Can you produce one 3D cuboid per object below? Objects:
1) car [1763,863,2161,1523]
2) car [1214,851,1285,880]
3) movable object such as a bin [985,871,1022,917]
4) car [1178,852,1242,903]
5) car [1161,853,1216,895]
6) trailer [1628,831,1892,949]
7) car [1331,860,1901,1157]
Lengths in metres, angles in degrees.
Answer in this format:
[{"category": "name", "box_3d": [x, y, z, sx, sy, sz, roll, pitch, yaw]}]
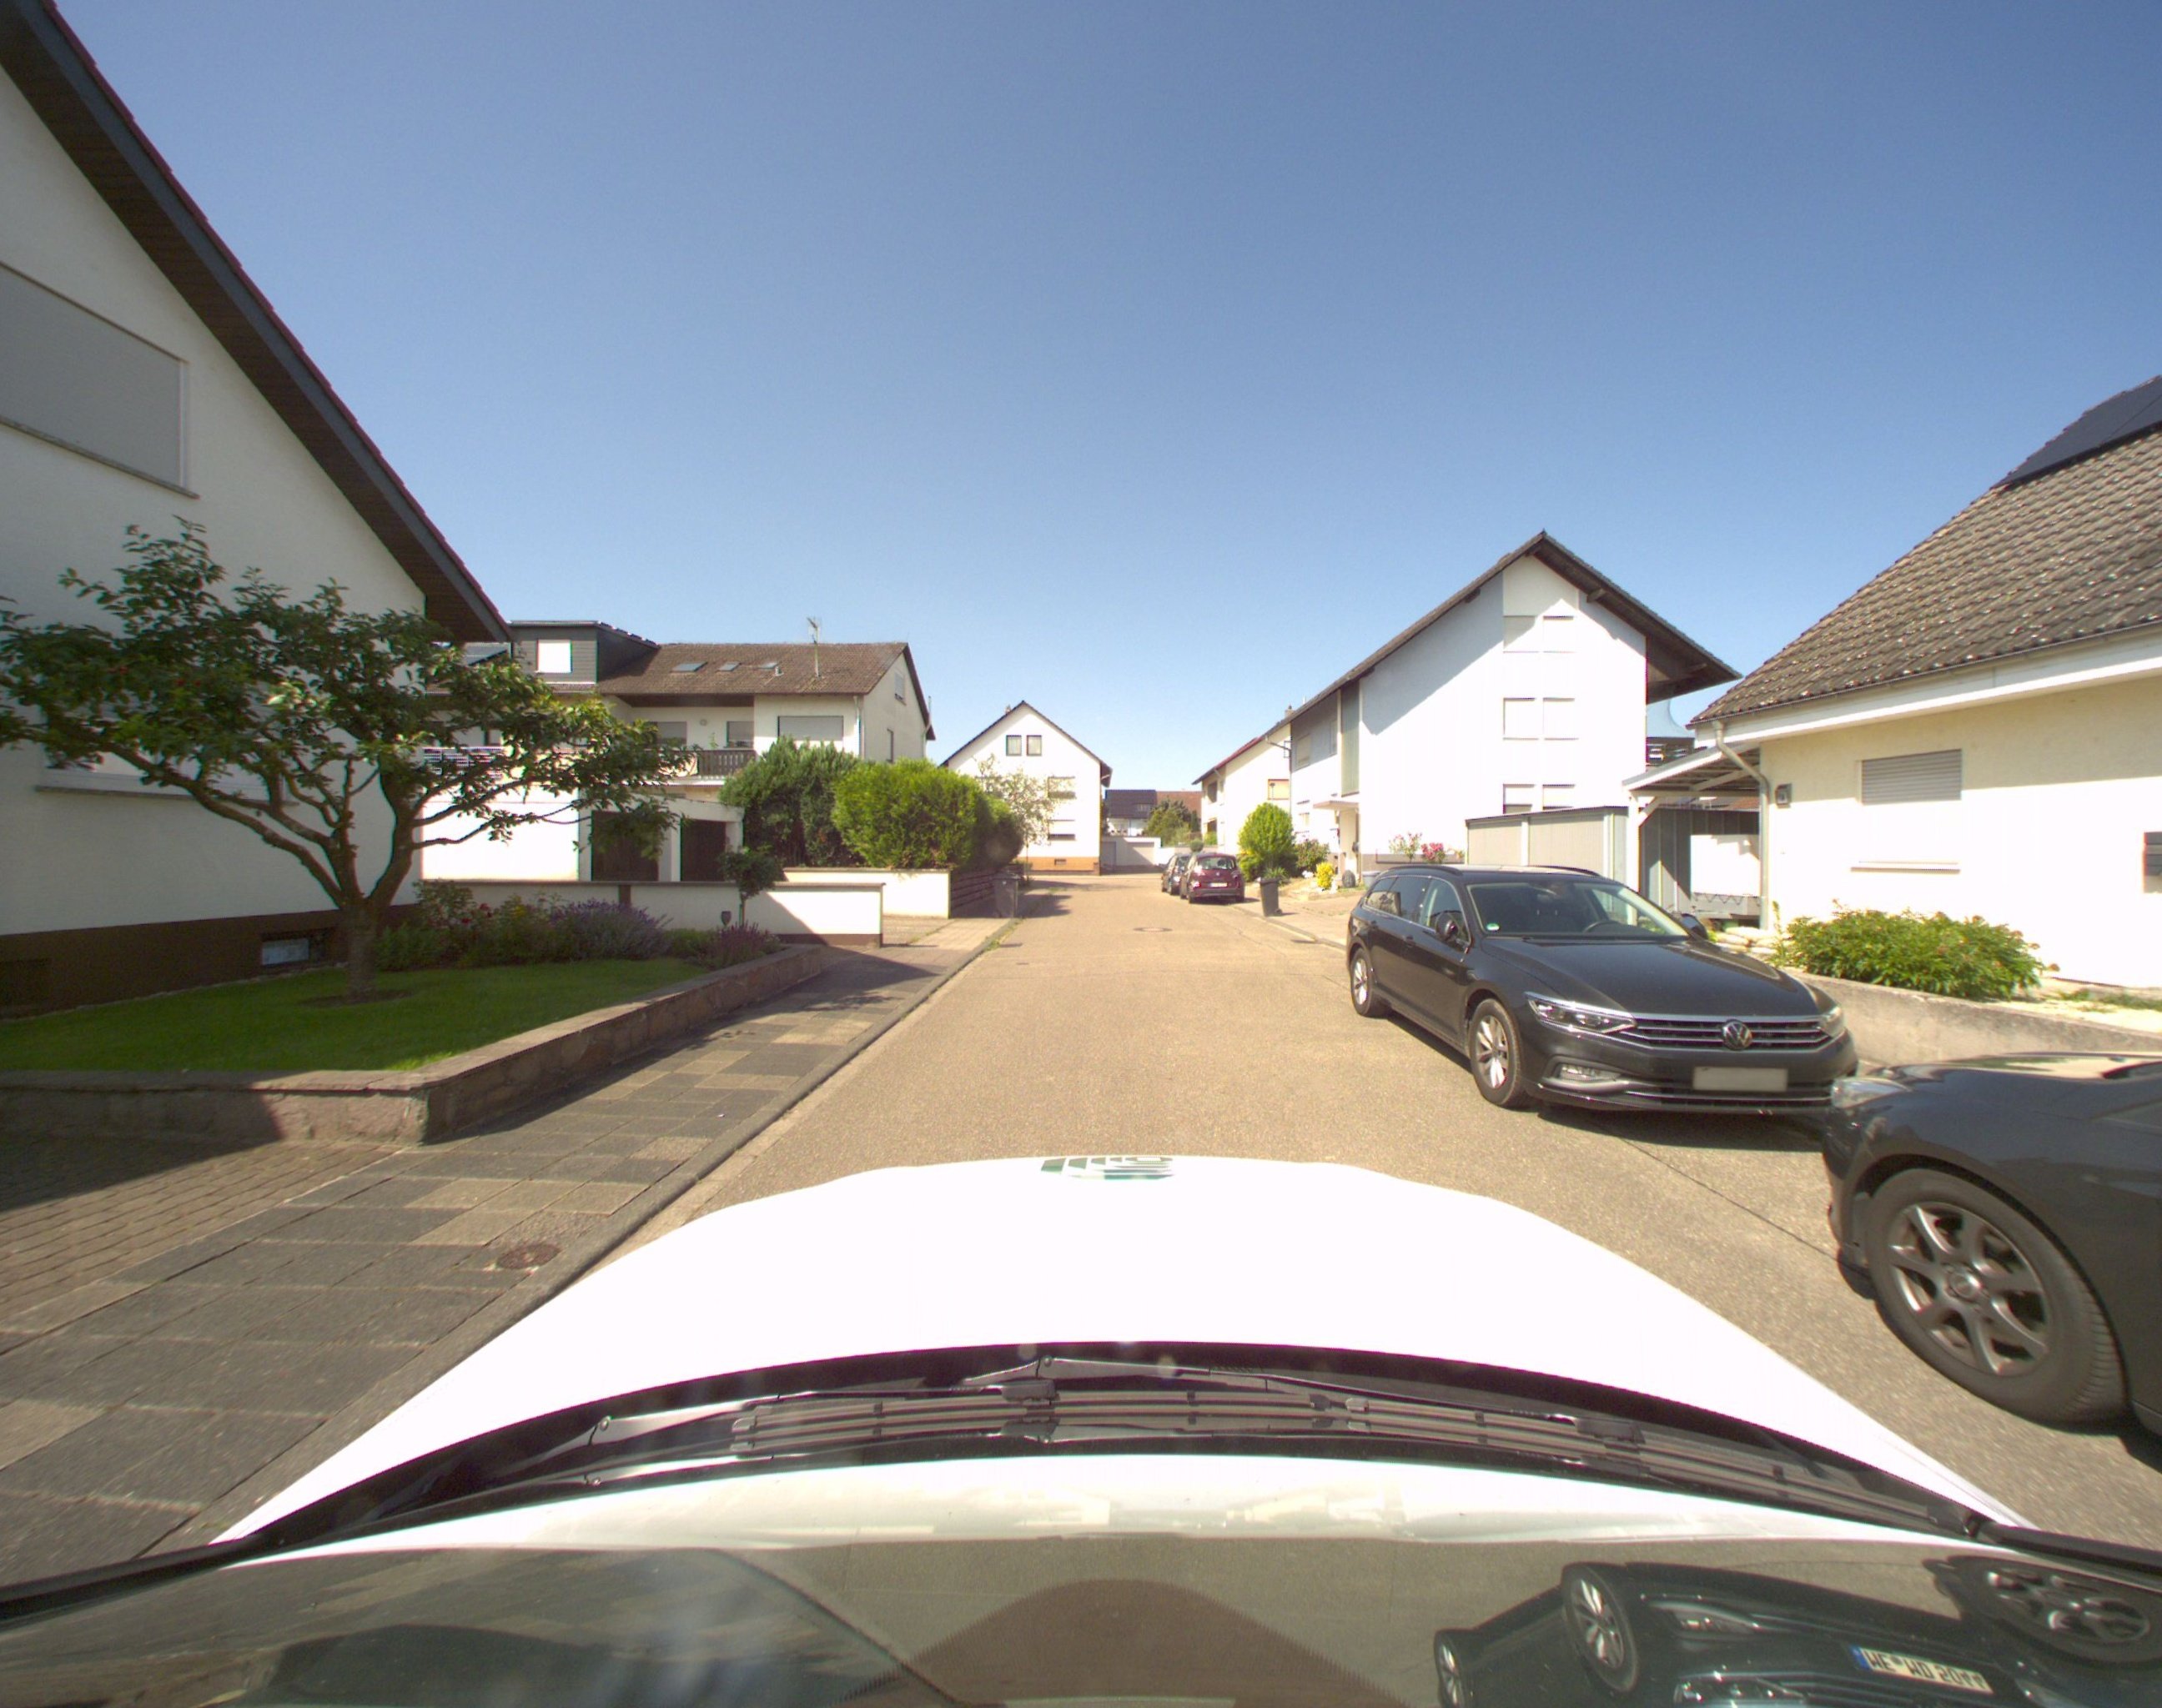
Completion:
[{"category": "car", "box_3d": [3.282, 0.816, 0.954, 1.636, 1.478, 4.001, 2, 1, 1]}, {"category": "car", "box_3d": [9.519, 0.636, 45.992, 3.821, 1.581, 1.634, 1, 0, -31]}, {"category": "movable object such as a bin", "box_3d": [-1.870, 0.966, 19.735, 0.815, 1.063, 0.611, 0, 0, 1]}, {"category": "car", "box_3d": [4.248, 0.728, 27.323, 1.639, 1.581, 4.149, 0, 0, 2]}, {"category": "car", "box_3d": [4.182, 0.751, 32.263, 1.640, 1.546, 4.047, 0, 0, 0]}, {"category": "trailer", "box_3d": [10.172, 0.515, 12.337, 2.823, 1.690, 1.403, 0, 0, 2]}, {"category": "car", "box_3d": [3.377, 0.788, 6.355, 1.710, 1.438, 4.507, 1, 0, 3]}]
